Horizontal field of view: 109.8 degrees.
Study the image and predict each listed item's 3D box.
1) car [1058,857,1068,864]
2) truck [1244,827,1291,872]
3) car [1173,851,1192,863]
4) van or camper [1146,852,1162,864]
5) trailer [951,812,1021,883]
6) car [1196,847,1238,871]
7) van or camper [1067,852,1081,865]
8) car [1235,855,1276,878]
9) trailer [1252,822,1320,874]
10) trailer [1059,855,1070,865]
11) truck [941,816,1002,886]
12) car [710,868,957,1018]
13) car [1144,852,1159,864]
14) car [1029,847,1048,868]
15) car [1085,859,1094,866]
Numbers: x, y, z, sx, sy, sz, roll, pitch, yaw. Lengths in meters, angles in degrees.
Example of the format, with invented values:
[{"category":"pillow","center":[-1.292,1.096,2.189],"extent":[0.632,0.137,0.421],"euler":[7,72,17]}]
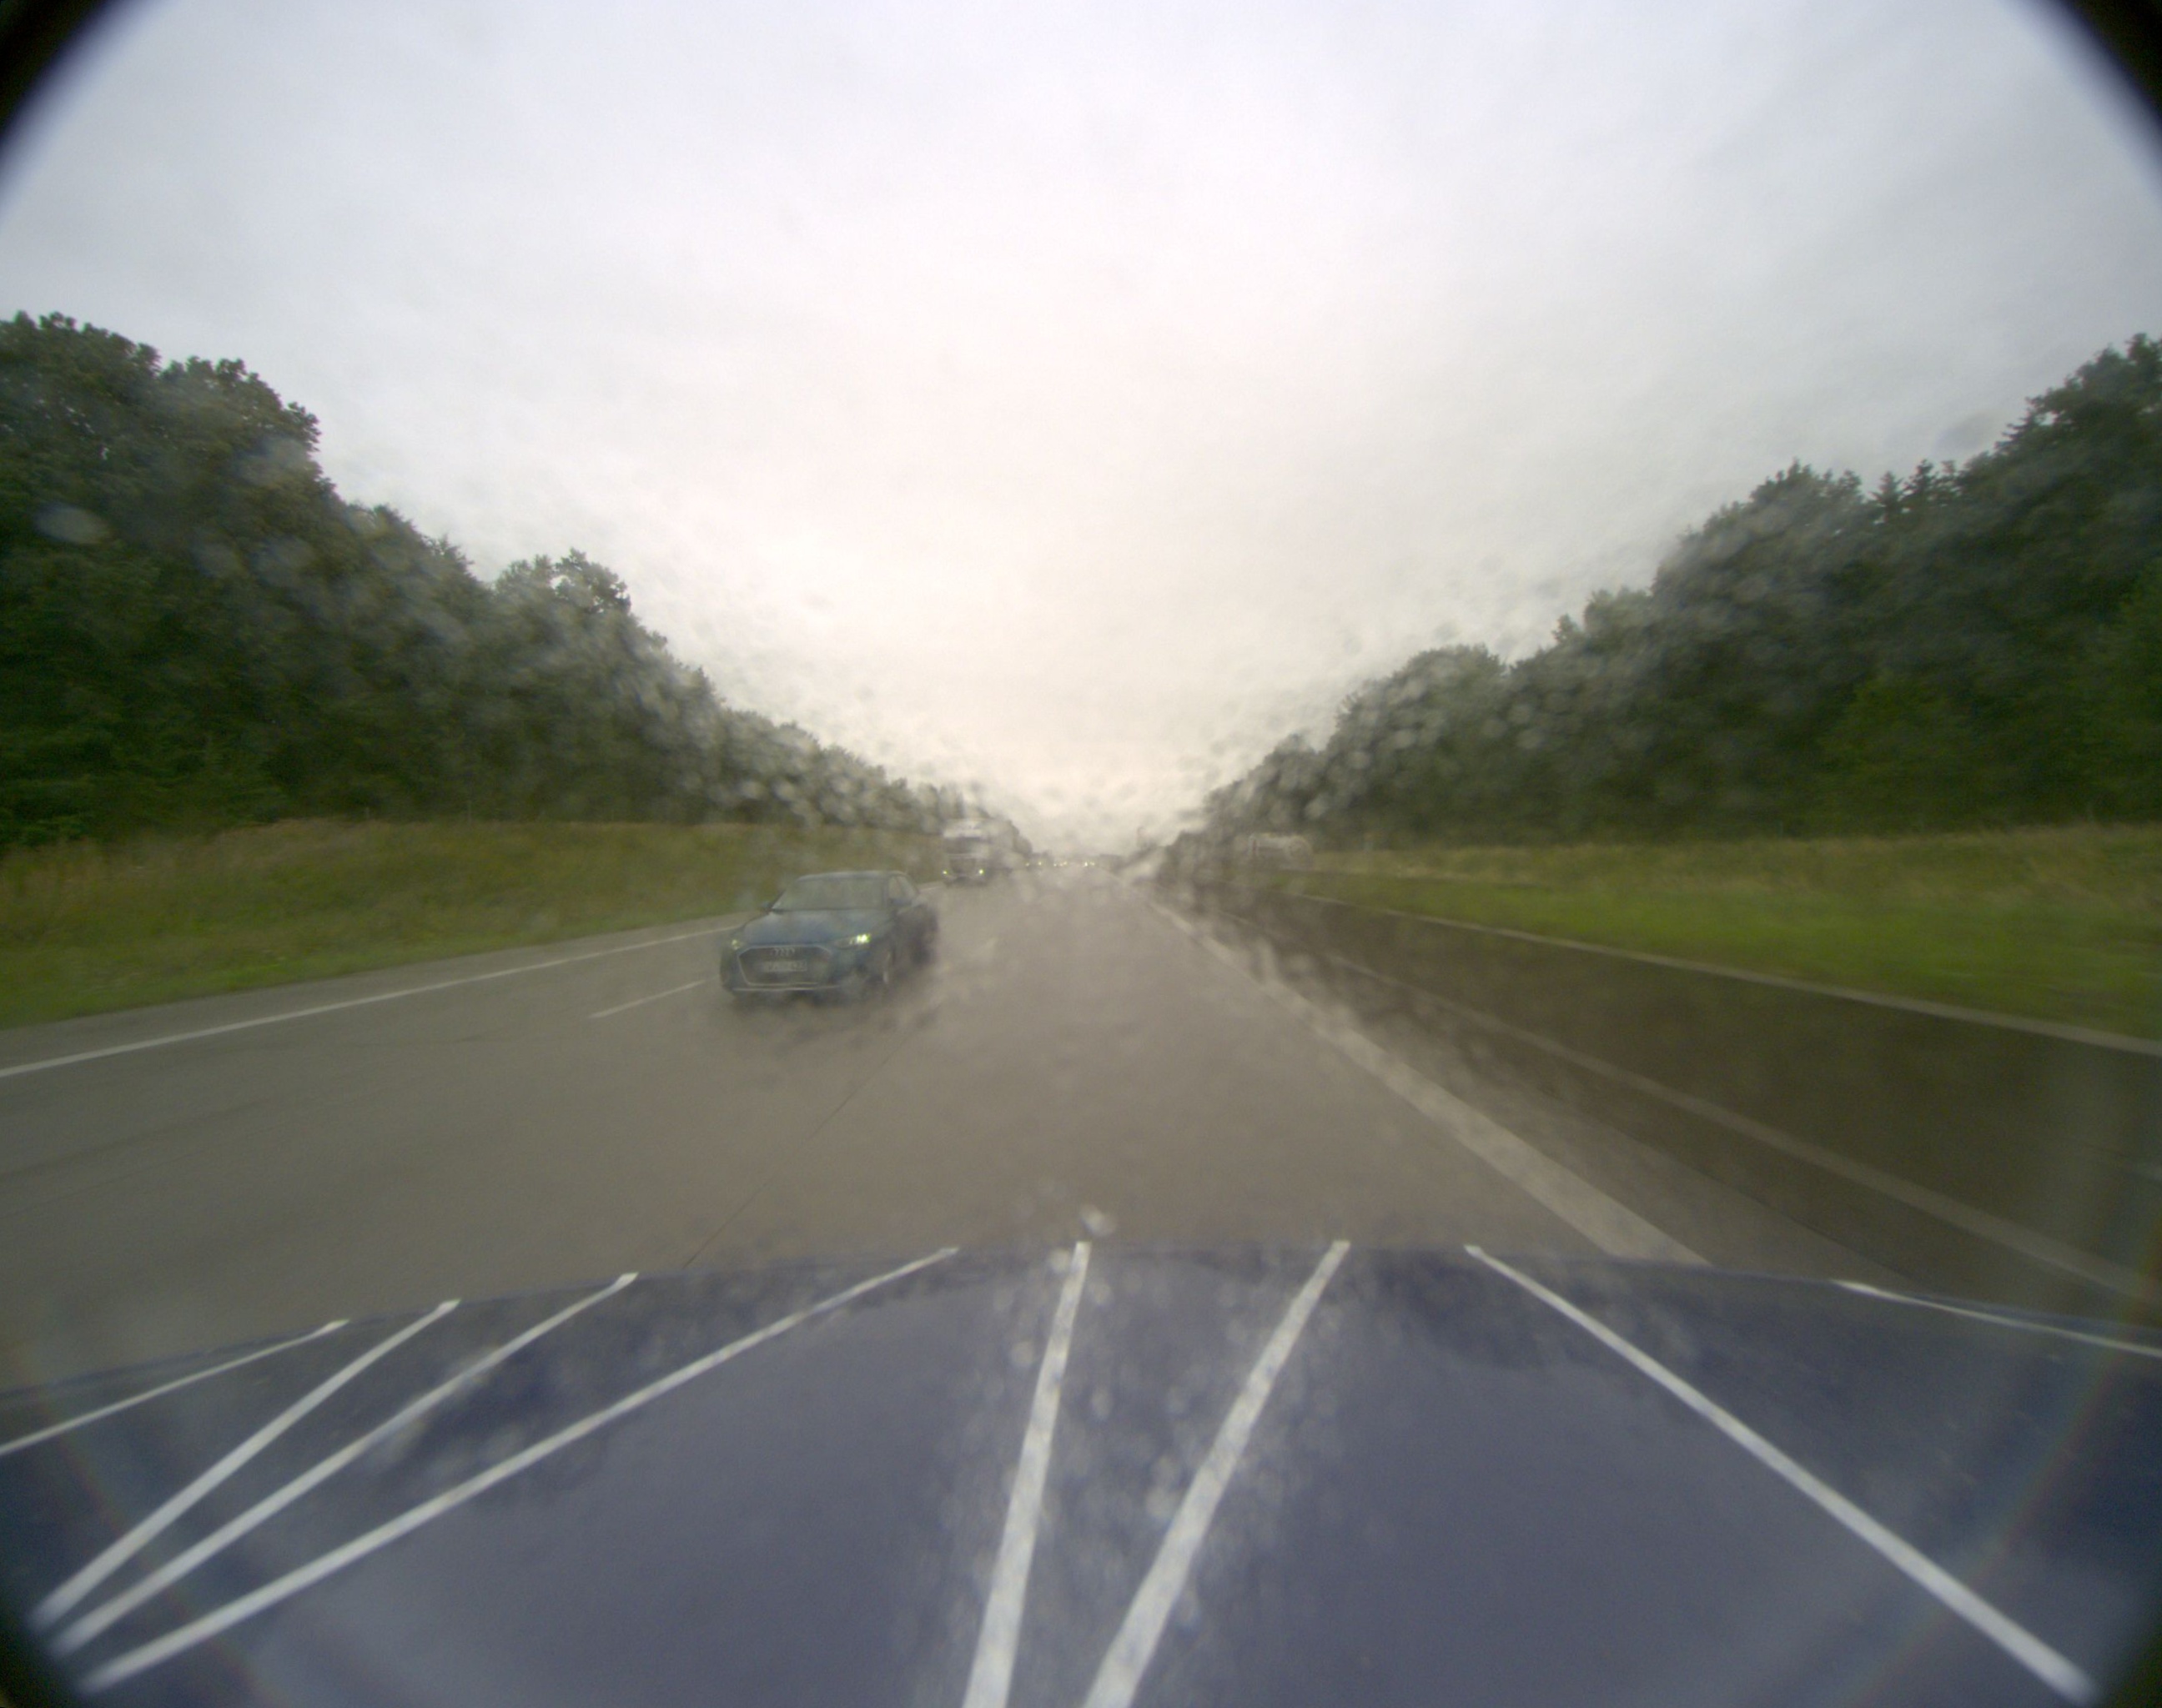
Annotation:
[{"category":"car","center":[-4.286,1.535,181.269],"extent":[1.998,1.575,5.955],"euler":[-3,-1,2]},{"category":"truck","center":[16.859,-0.360,68.957],"extent":[2.671,3.852,6.435],"euler":[-1,0,0]},{"category":"car","center":[13.626,0.391,102.610],"extent":[1.998,1.618,4.560],"euler":[-1,0,1]},{"category":"van or camper","center":[14.362,0.790,149.167],"extent":[2.507,2.415,5.919],"euler":[-1,0,0]},{"category":"trailer","center":[-6.508,-0.346,54.799],"extent":[2.713,4.353,15.206],"euler":[-3,0,1]},{"category":"car","center":[9.199,0.320,51.687],"extent":[1.998,1.534,4.559],"euler":[-1,0,0]},{"category":"van or camper","center":[-1.419,0.864,150.213],"extent":[2.233,2.537,7.951],"euler":[-3,0,2]},{"category":"car","center":[12.702,0.874,55.605],"extent":[1.998,1.534,4.559],"euler":[-1,0,0]},{"category":"trailer","center":[16.861,-0.464,63.324],"extent":[2.671,3.948,11.136],"euler":[0,0,0]},{"category":"trailer","center":[-4.078,1.534,187.248],"extent":[2.348,2.444,5.941],"euler":[-1,0,2]},{"category":"truck","center":[-6.678,-0.159,47.058],"extent":[2.643,3.930,5.686],"euler":[-2,0,1]},{"category":"car","center":[-3.005,0.991,10.387],"extent":[1.733,1.450,4.672],"euler":[-1,0,1]},{"category":"car","center":[9.984,0.615,108.265],"extent":[1.788,1.677,4.560],"euler":[0,0,0]},{"category":"car","center":[-5.878,0.536,106.742],"extent":[1.945,2.643,6.588],"euler":[-3,-1,2]},{"category":"car","center":[1.800,1.768,161.171],"extent":[1.733,1.450,4.672],"euler":[-1,0,1]}]
